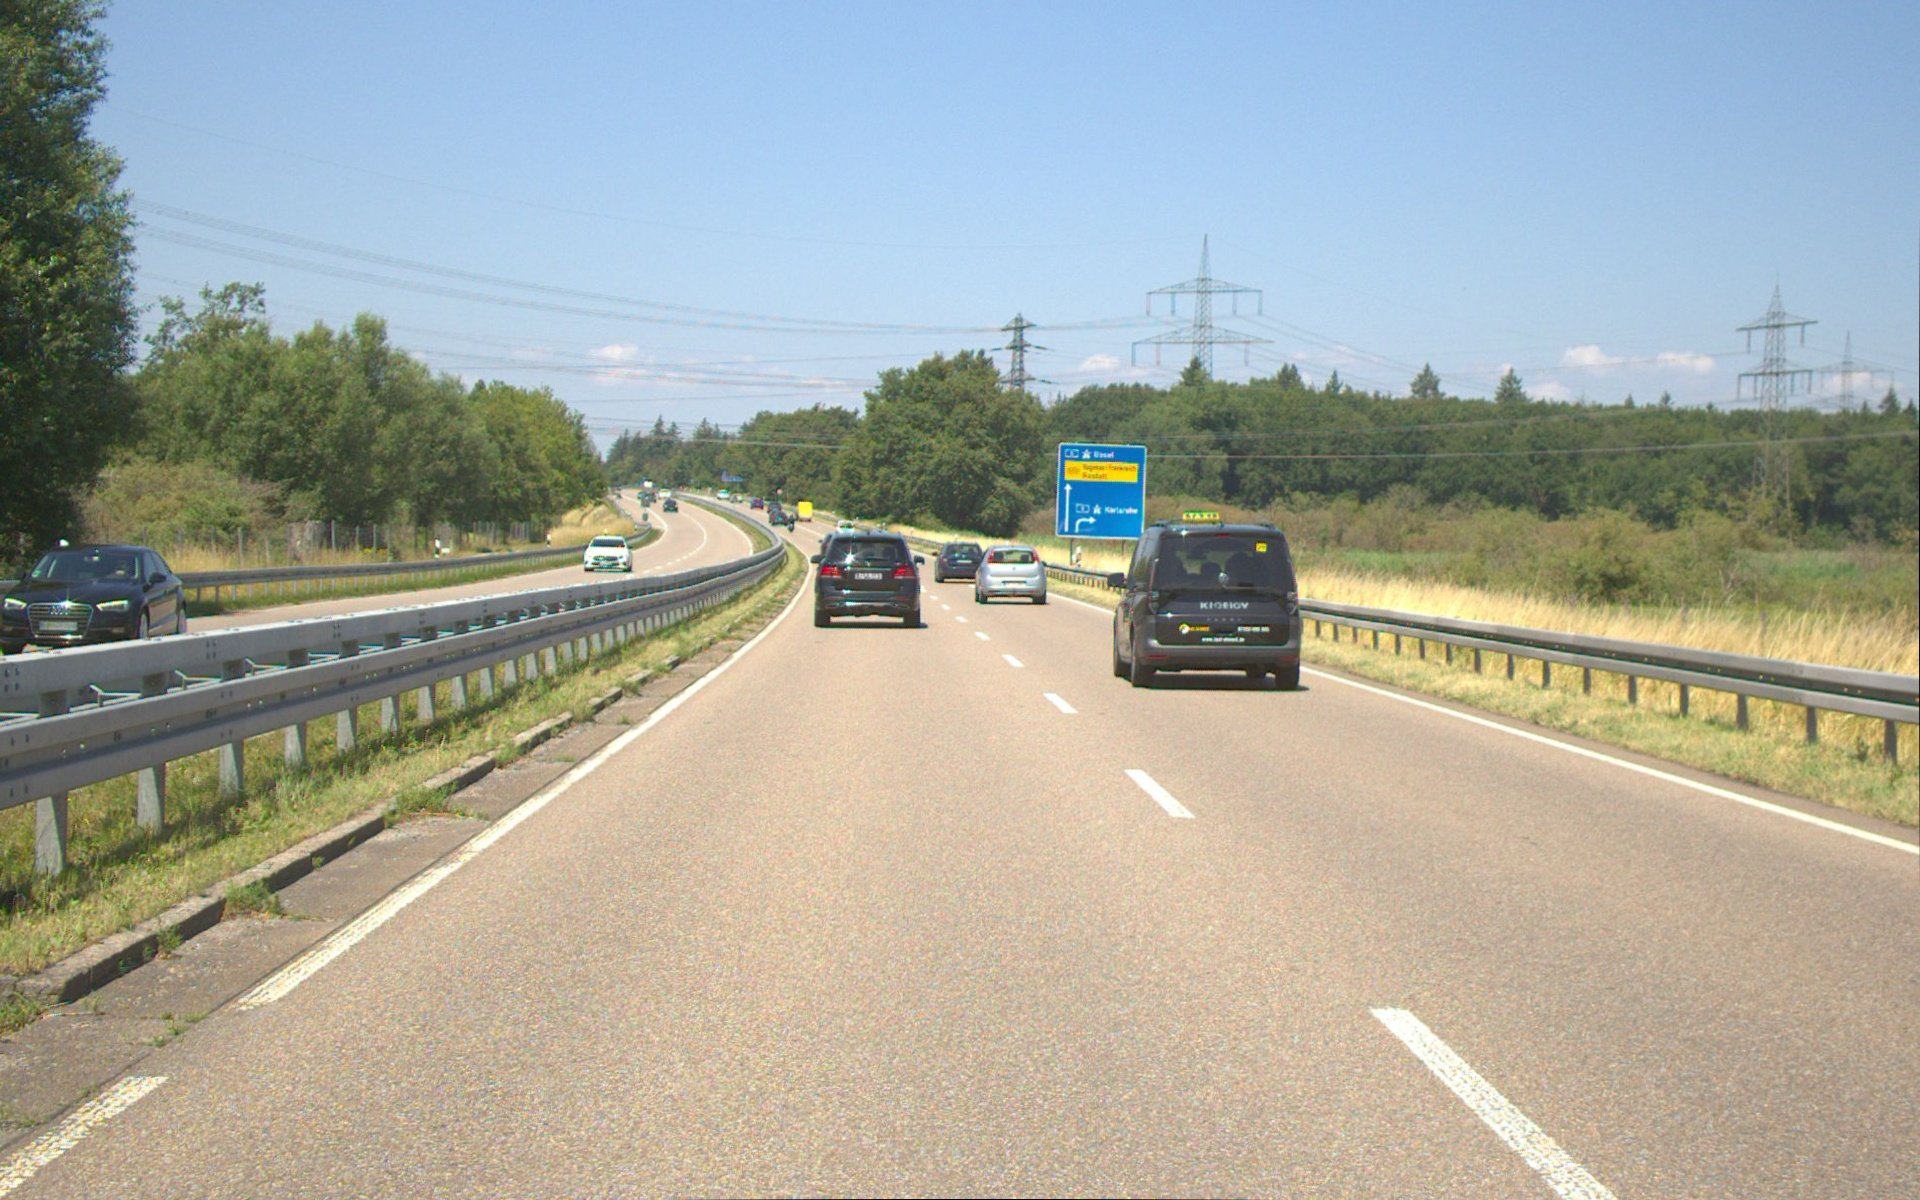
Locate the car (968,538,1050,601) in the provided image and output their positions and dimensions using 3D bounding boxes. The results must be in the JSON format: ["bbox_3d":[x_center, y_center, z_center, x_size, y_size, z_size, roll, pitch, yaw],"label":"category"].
[{"bbox_3d":[1.221,-0.794,86.971,1.779,1.474,4.316,2,1,-2],"label":"car"}]

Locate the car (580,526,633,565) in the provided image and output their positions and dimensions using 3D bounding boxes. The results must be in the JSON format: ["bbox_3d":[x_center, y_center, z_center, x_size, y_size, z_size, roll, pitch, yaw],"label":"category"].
[{"bbox_3d":[-14.435,-2.231,140.381,1.827,1.492,4.103,2,1,-2],"label":"car"}]

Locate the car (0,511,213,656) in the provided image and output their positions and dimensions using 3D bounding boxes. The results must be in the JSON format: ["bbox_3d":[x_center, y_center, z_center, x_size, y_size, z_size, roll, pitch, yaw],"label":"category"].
[{"bbox_3d":[-11.150,-0.266,44.221,1.993,1.631,4.874,4,1,-1],"label":"car"}]

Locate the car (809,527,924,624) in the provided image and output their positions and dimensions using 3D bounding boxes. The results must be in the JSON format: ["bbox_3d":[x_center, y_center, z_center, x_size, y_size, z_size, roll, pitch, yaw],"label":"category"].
[{"bbox_3d":[-1.749,-0.468,63.400,1.993,1.649,4.001,2,1,-2],"label":"car"}]

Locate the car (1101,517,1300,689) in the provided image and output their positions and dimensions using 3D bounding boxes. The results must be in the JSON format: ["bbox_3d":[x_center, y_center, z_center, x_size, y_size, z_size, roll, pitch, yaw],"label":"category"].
[{"bbox_3d":[2.677,-0.020,39.080,1.779,1.810,4.213,1,1,-2],"label":"car"}]

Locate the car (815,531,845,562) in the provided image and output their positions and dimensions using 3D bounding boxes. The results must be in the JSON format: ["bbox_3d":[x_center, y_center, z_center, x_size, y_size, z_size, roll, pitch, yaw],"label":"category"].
[{"bbox_3d":[-6.877,-2.844,182.035,1.514,1.470,3.066,4,1,-2],"label":"car"}]

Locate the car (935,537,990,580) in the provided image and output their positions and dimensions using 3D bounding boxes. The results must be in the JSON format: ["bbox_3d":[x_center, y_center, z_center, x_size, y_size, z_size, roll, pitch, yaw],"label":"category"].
[{"bbox_3d":[0.071,-1.468,121.036,1.819,1.409,4.001,1,2,-1],"label":"car"}]
